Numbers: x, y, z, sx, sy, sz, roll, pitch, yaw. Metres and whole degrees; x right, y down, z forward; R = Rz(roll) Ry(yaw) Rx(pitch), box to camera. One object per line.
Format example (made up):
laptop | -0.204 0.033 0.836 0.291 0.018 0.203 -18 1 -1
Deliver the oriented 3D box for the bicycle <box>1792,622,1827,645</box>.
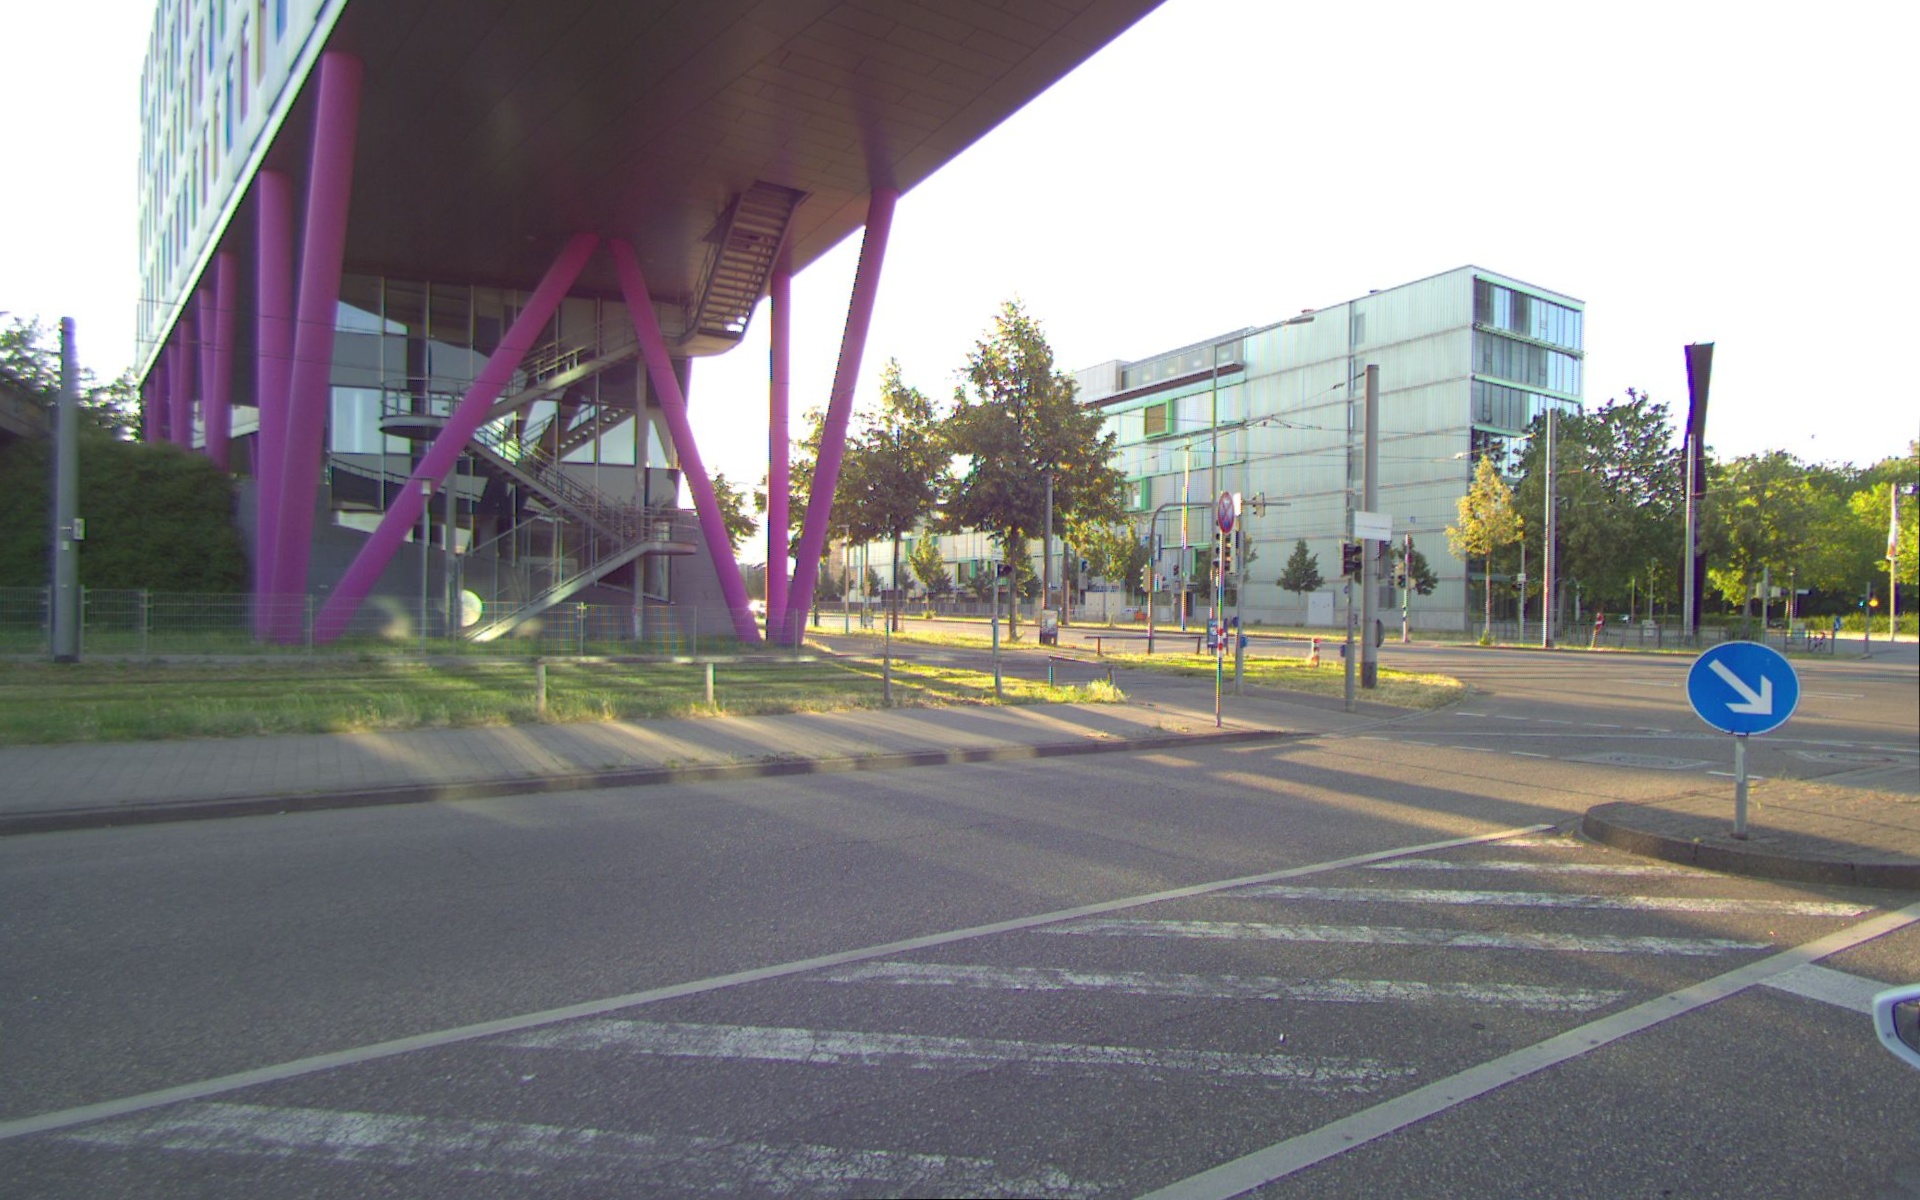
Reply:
bicycle | 43.783 1.707 51.769 2.367 1.151 0.695 1 0 -33

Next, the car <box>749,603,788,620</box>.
car | -16.764 1.017 87.677 1.979 1.439 3.963 1 0 -33
